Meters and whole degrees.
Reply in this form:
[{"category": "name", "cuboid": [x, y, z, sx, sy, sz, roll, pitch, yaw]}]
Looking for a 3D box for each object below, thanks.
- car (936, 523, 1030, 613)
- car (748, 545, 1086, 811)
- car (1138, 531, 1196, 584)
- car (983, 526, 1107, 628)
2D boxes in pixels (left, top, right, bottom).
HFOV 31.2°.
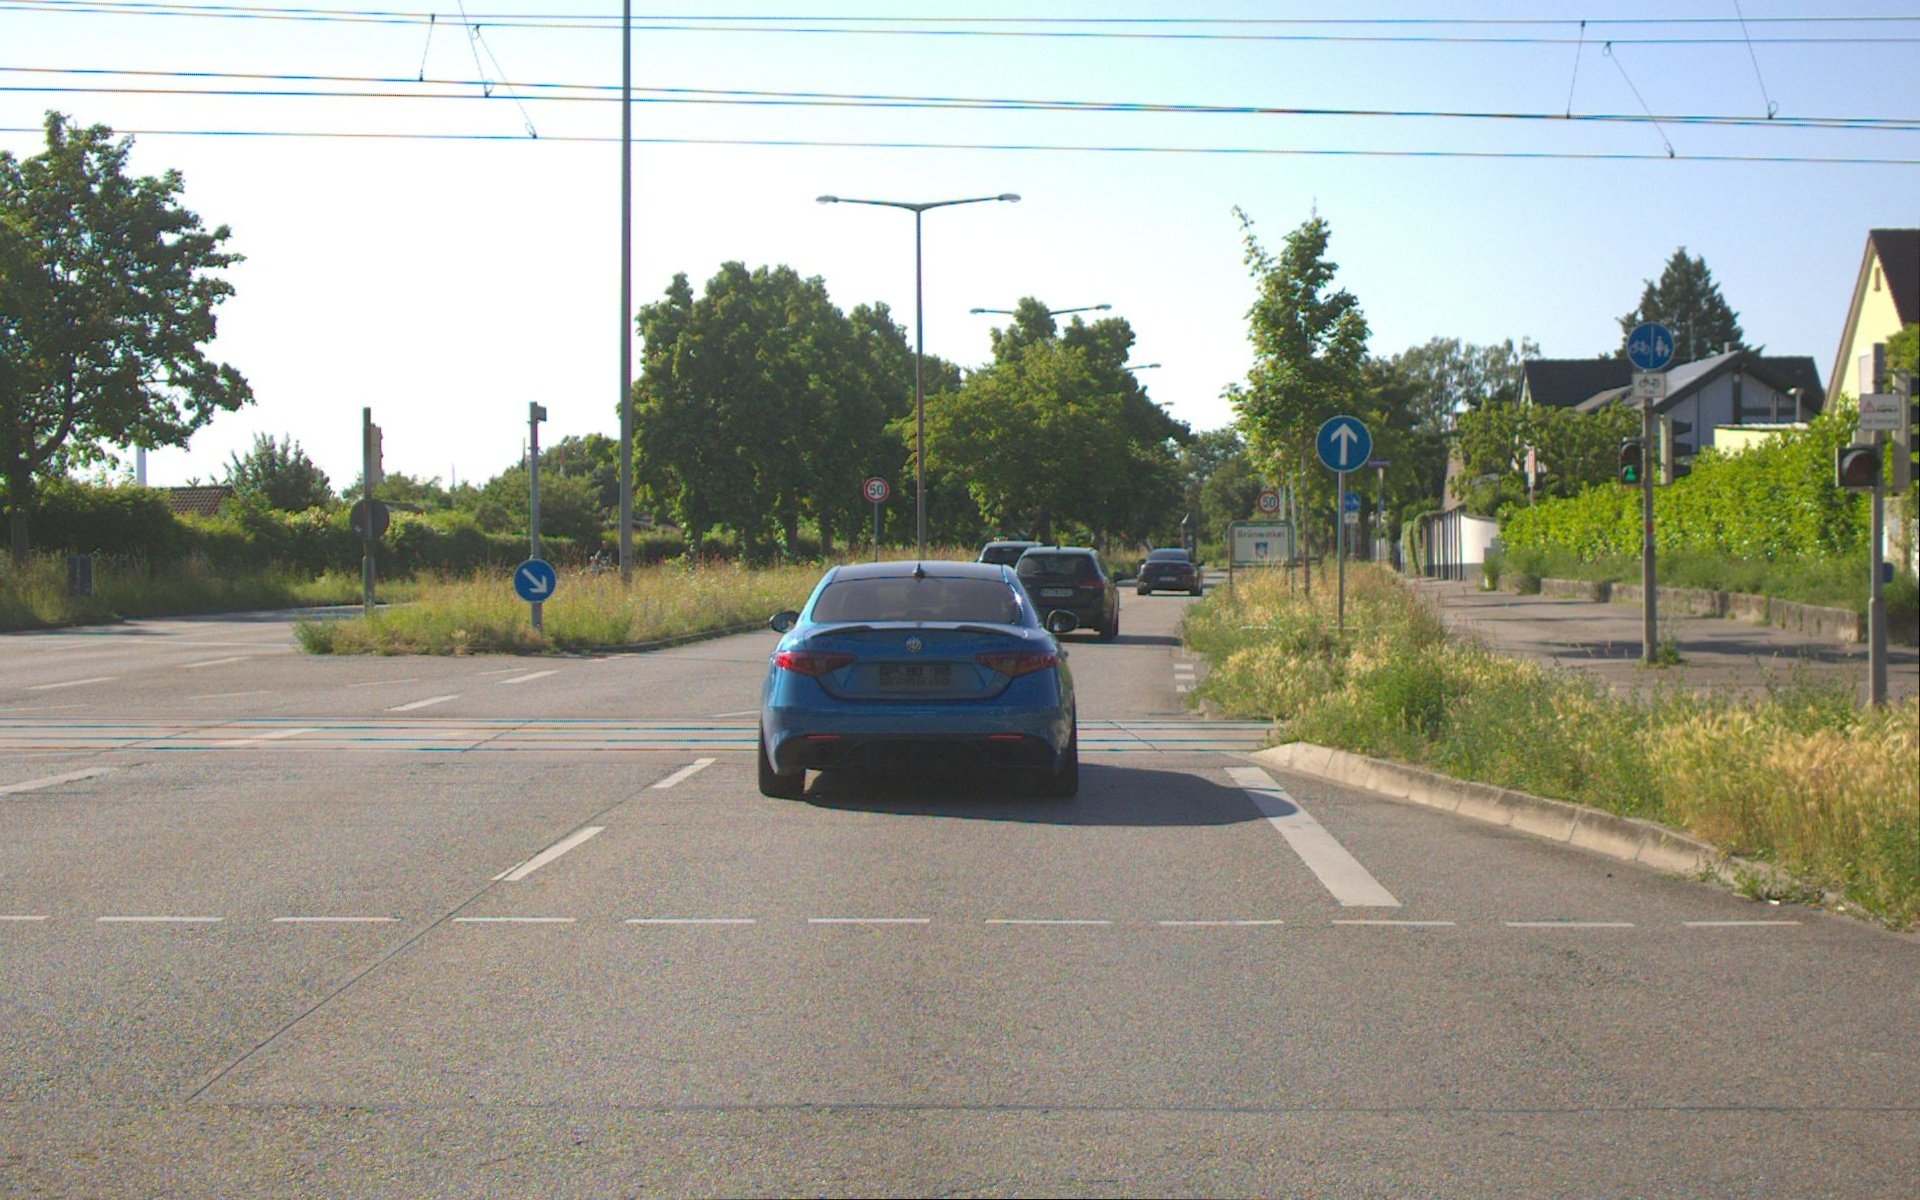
[{"category": "car", "cuboid": [0.561, -0.751, 78.609, 1.793, 2.007, 3.999, 0, 1, 6]}, {"category": "car", "cuboid": [-0.371, 0.410, 21.613, 1.838, 1.469, 4.185, 0, 1, -5]}, {"category": "car", "cuboid": [6.345, -1.308, 105.132, 1.661, 1.574, 3.808, 1, 1, 5]}, {"category": "car", "cuboid": [1.377, -0.394, 55.311, 1.915, 1.574, 4.182, 0, 1, 2]}]
